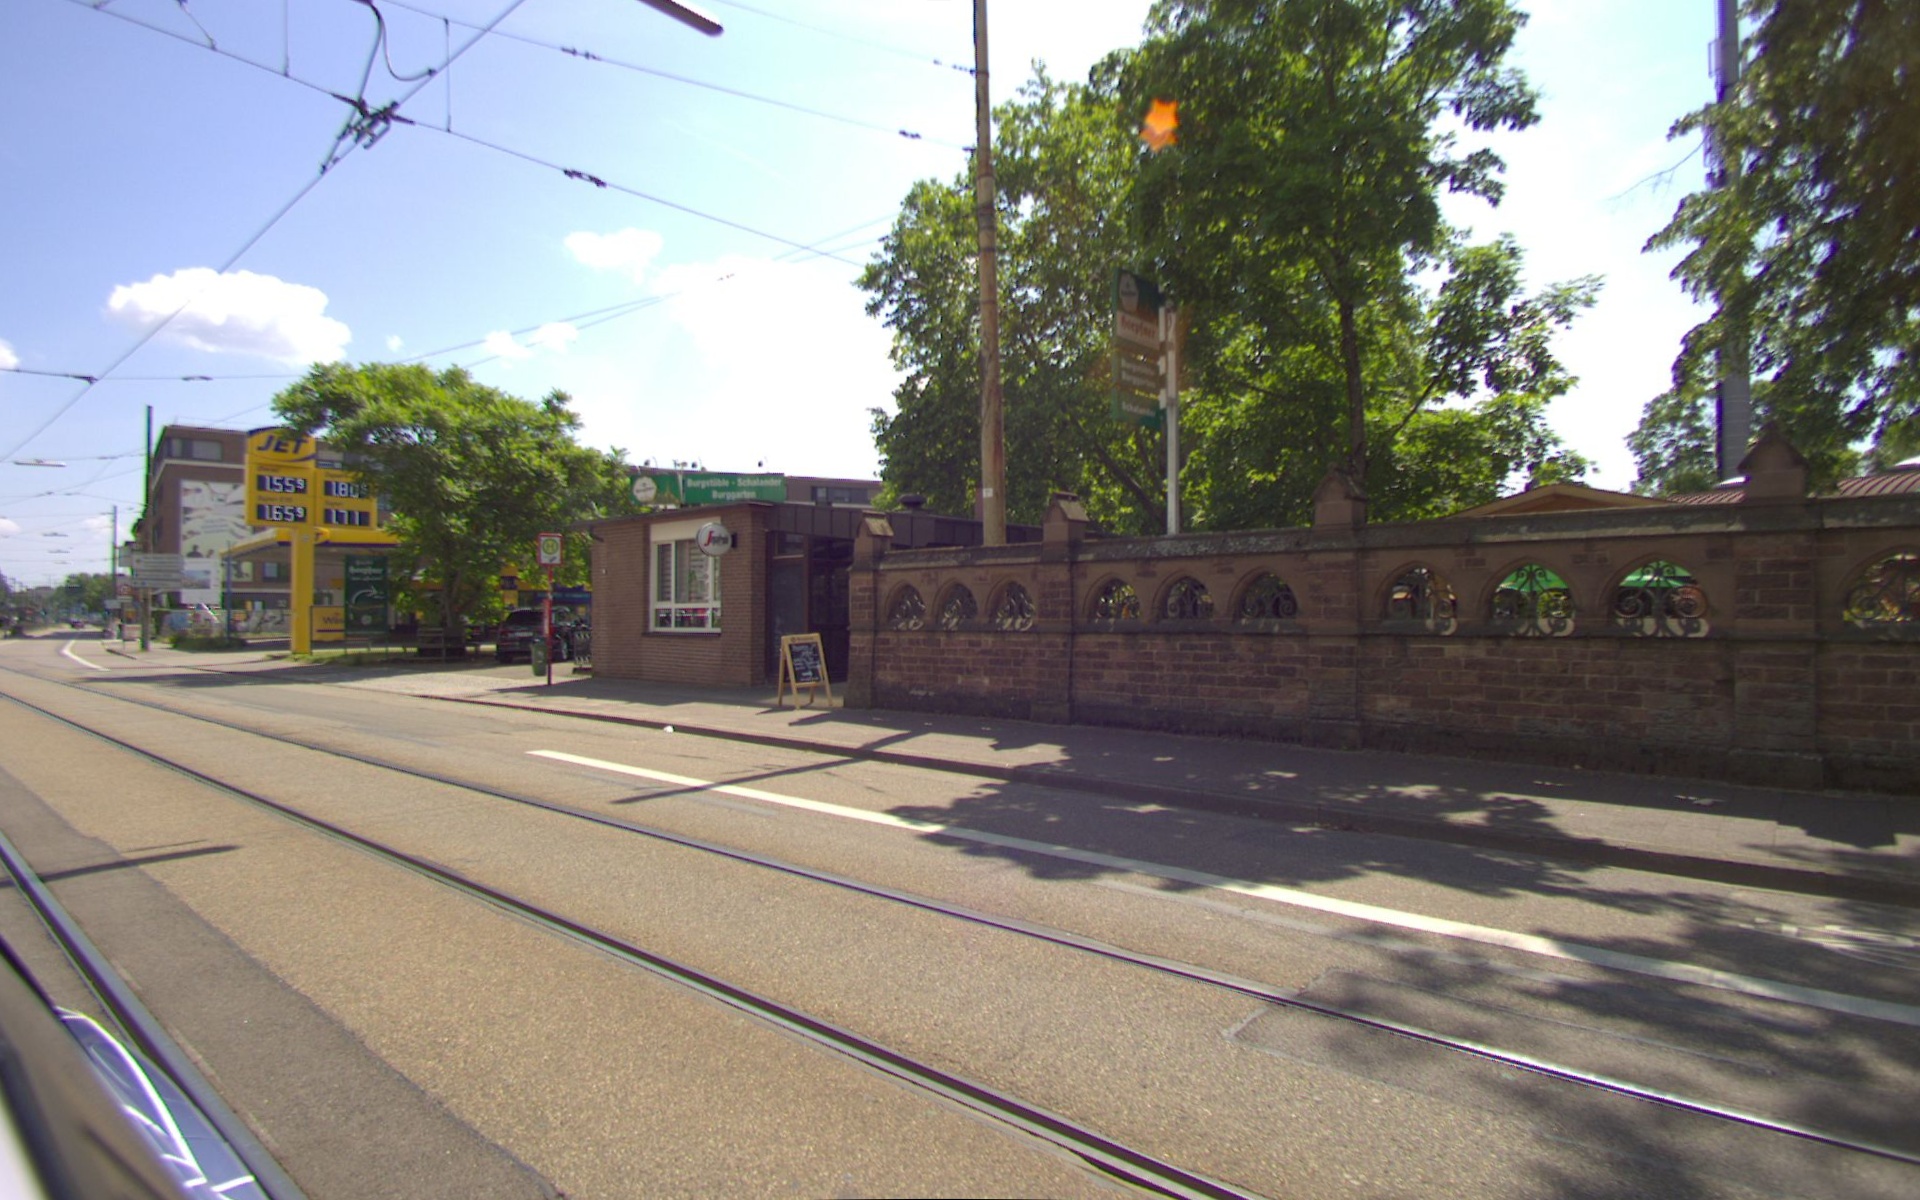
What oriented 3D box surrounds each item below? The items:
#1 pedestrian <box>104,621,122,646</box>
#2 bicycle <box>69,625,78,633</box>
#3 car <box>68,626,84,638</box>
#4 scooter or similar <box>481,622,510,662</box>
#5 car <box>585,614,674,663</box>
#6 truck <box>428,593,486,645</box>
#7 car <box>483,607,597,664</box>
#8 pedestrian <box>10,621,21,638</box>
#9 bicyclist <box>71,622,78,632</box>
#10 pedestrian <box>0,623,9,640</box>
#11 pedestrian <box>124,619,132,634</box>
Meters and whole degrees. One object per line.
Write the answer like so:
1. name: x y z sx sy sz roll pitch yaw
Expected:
1. pedestrian: -56.142 2.235 67.052 1.000 1.608 0.752 -2 2 44
2. bicycle: -136.063 4.456 155.368 2.390 1.232 0.807 -2 -3 45
3. car: -152.236 5.509 174.295 1.992 2.029 4.005 -2 0 -41
4. scooter or similar: -14.487 1.298 31.605 0.400 1.183 1.362 -1 -1 -6
5. car: -10.203 1.161 31.590 1.880 1.405 4.340 -1 -1 -7
6. truck: -25.575 0.949 51.639 1.966 2.517 5.219 0 -1 -18
7. car: -12.617 1.033 30.680 1.970 1.602 4.338 0 -1 -5
8. pedestrian: -91.912 2.887 98.468 0.751 1.708 0.810 2 -3 -42
9. bicyclist: -136.101 4.083 155.500 1.065 1.516 0.750 -2 -2 43
10. pedestrian: -88.439 2.900 93.531 0.677 1.608 0.762 2 -3 -42
11. pedestrian: -89.732 2.902 109.141 0.677 1.608 0.762 2 -3 -42
